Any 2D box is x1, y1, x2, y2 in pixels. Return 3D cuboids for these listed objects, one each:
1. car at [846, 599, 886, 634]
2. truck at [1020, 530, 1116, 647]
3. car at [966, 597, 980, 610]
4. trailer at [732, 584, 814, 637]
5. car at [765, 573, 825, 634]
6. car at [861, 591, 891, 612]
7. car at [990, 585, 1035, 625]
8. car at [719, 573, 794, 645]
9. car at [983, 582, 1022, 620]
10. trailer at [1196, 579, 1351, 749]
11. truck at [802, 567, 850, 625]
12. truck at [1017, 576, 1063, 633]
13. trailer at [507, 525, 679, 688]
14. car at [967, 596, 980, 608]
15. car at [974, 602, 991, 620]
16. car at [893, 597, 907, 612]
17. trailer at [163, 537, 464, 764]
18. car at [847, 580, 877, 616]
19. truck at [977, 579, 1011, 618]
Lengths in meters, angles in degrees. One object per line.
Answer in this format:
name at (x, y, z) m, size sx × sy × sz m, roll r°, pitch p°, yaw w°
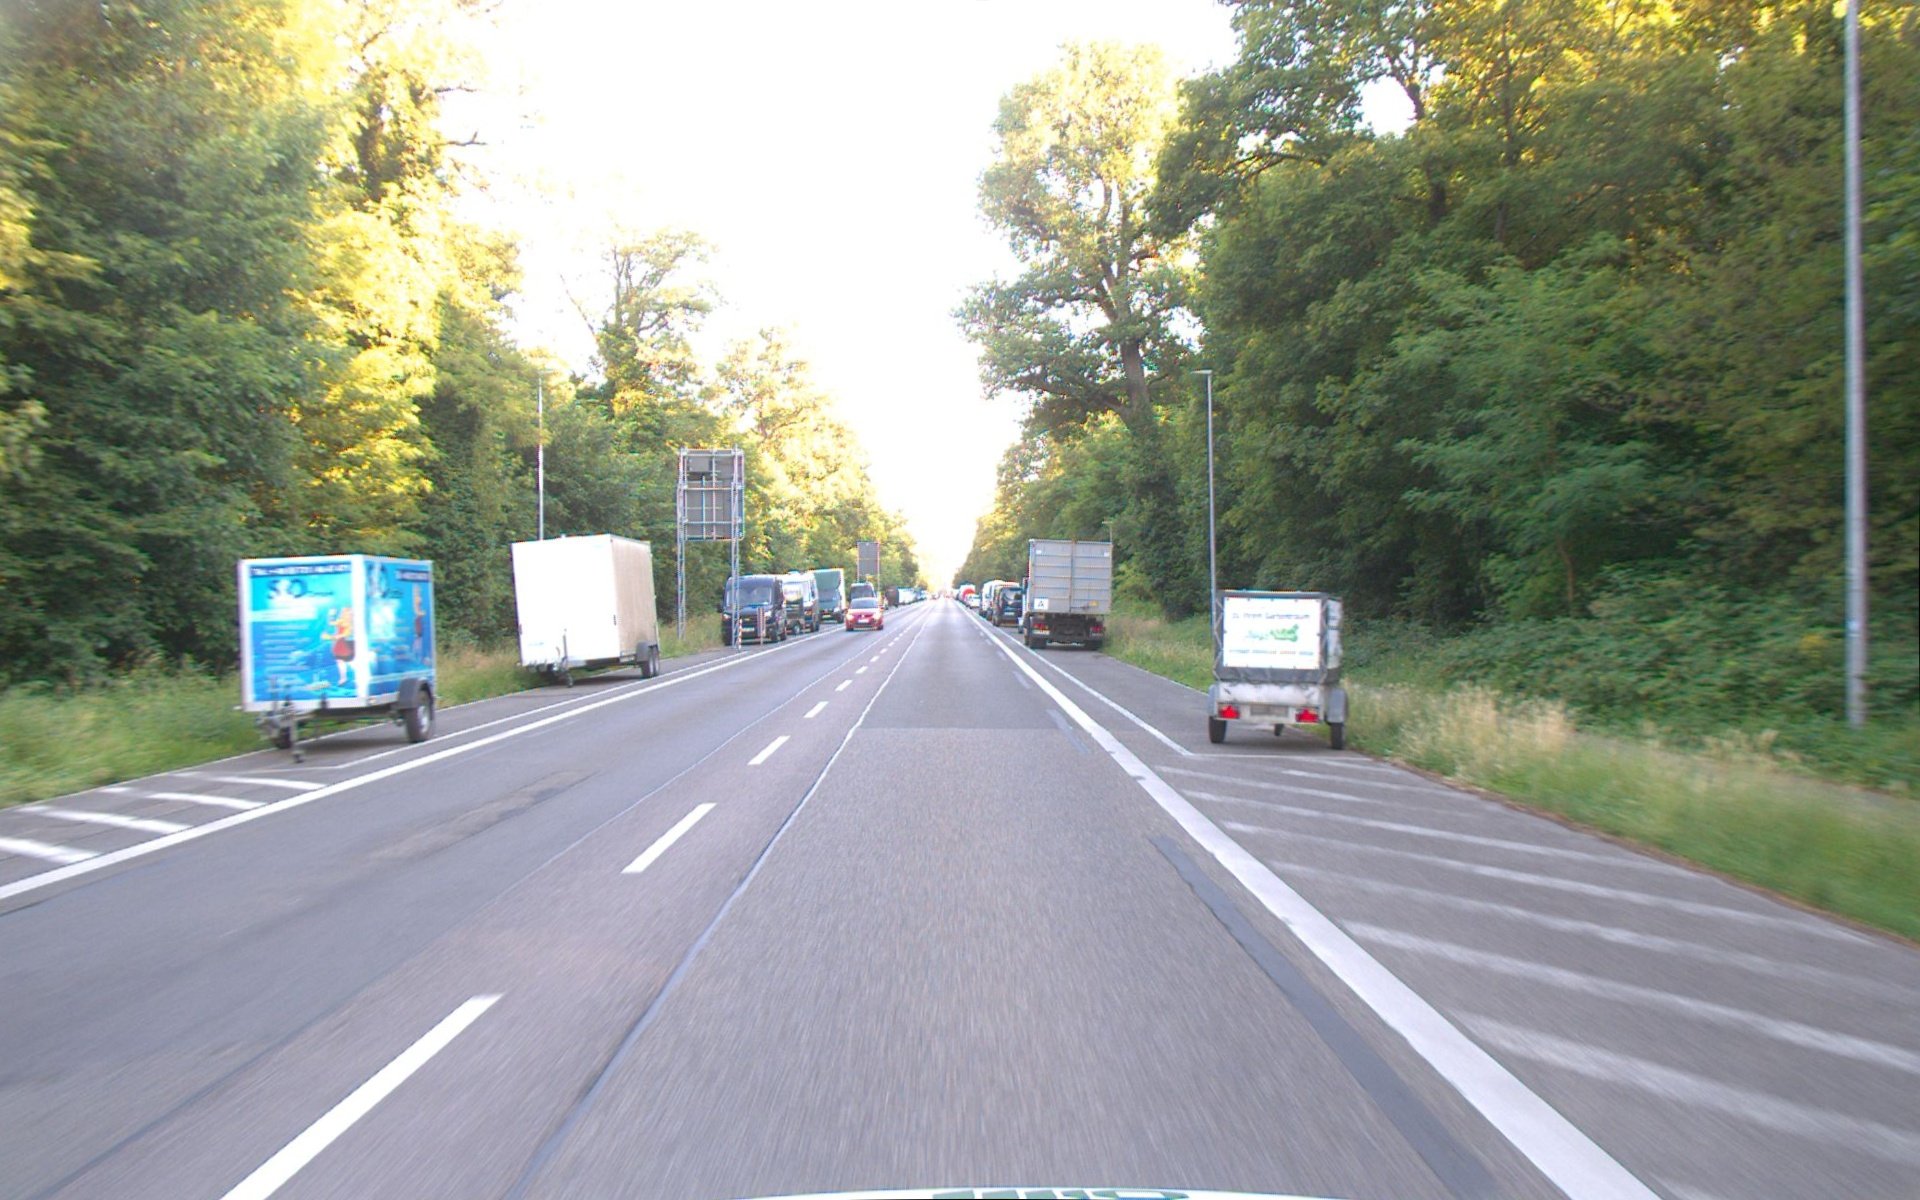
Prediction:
car at (-4.331, 0.740, 76.557) m, size 1.648 × 1.512 × 4.037 m, roll -2°, pitch 0°, yaw -1°
truck at (3.221, -0.314, 50.871) m, size 2.535 × 3.312 × 7.221 m, roll 1°, pitch 0°, yaw 1°
car at (1.557, 0.454, 199.073) m, size 1.612 × 1.512 × 3.999 m, roll 1°, pitch 0°, yaw -1°
trailer at (-8.056, 0.429, 71.460) m, size 1.922 × 2.192 × 3.930 m, roll -2°, pitch 0°, yaw 20°
car at (-7.645, 0.141, 76.995) m, size 2.203 × 2.694 × 5.720 m, roll -2°, pitch 0°, yaw -1°
car at (-8.492, 0.185, 166.900) m, size 1.664 × 2.049 × 4.002 m, roll 1°, pitch 0°, yaw 18°
car at (2.645, 0.250, 84.768) m, size 1.954 × 1.989 × 4.297 m, roll 1°, pitch 0°, yaw -3°
car at (-7.390, 0.302, 60.572) m, size 1.953 × 2.405 × 5.765 m, roll -3°, pitch 0°, yaw -1°
car at (2.651, 0.063, 104.033) m, size 2.099 × 2.354 × 4.297 m, roll 1°, pitch 0°, yaw -3°
trailer at (3.585, 0.640, 18.526) m, size 1.425 × 1.691 × 3.780 m, roll -1°, pitch 0°, yaw 14°
truck at (-8.253, -0.267, 102.450) m, size 2.453 × 3.387 × 6.840 m, roll -2°, pitch 0°, yaw -1°
truck at (3.366, 0.186, 70.278) m, size 1.846 × 2.323 × 4.300 m, roll 1°, pitch 0°, yaw 1°
trailer at (-7.430, 0.120, 34.139) m, size 2.279 × 2.975 × 5.625 m, roll -3°, pitch 0°, yaw -1°
car at (1.479, 0.209, 181.992) m, size 1.398 × 1.243 × 3.411 m, roll -3°, pitch 0°, yaw -1°
car at (1.679, 0.780, 123.339) m, size 1.124 × 1.273 × 2.752 m, roll -2°, pitch 0°, yaw -3°
car at (-8.919, 0.698, 244.740) m, size 1.954 × 2.049 × 3.997 m, roll -1°, pitch -1°, yaw -3°
trailer at (-7.050, 0.497, 18.533) m, size 1.780 × 2.205 × 4.141 m, roll -2°, pitch 0°, yaw -2°
car at (-8.080, -0.174, 137.210) m, size 2.142 × 2.837 × 5.333 m, roll -2°, pitch 0°, yaw -1°
truck at (2.365, -0.084, 117.117) m, size 2.099 × 2.706 × 4.297 m, roll 1°, pitch 0°, yaw -3°
